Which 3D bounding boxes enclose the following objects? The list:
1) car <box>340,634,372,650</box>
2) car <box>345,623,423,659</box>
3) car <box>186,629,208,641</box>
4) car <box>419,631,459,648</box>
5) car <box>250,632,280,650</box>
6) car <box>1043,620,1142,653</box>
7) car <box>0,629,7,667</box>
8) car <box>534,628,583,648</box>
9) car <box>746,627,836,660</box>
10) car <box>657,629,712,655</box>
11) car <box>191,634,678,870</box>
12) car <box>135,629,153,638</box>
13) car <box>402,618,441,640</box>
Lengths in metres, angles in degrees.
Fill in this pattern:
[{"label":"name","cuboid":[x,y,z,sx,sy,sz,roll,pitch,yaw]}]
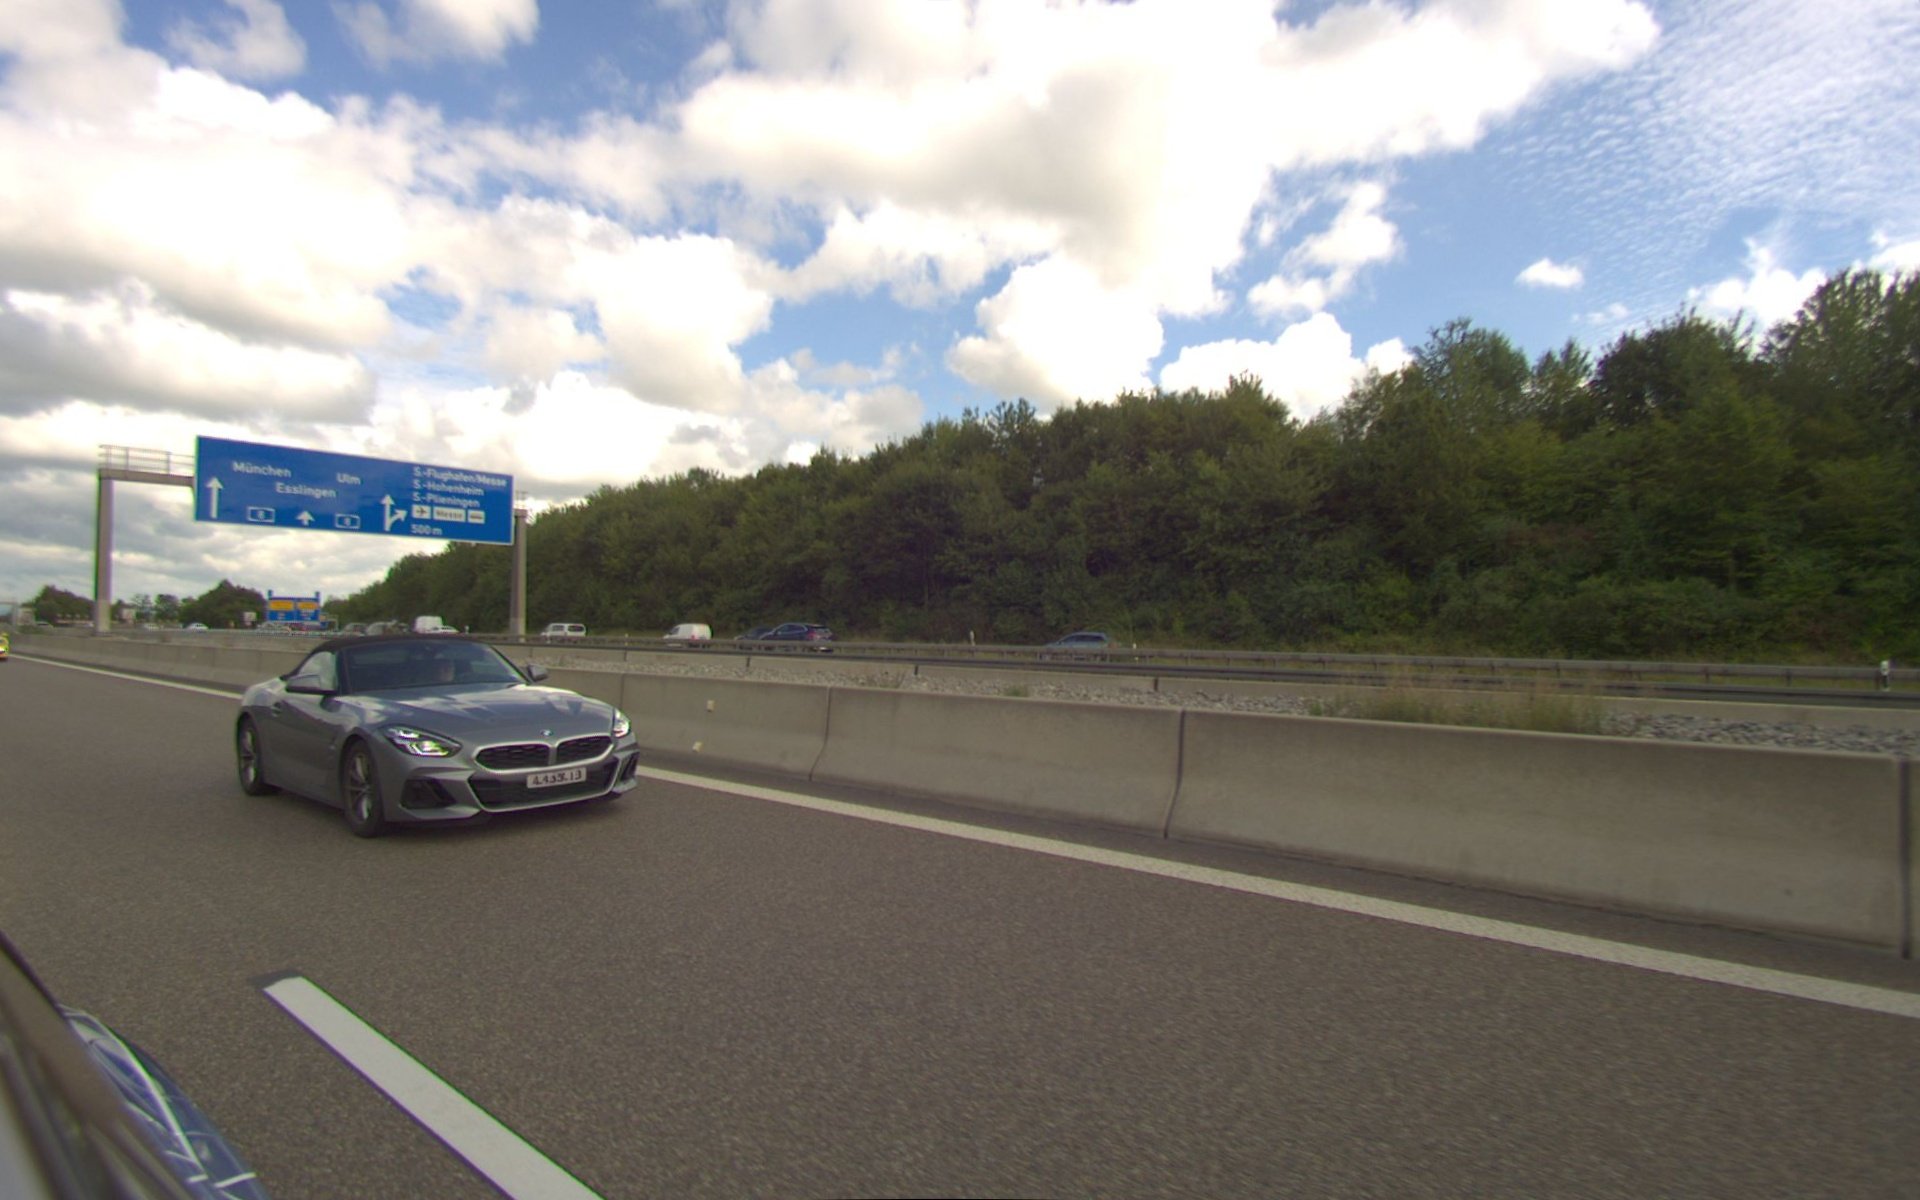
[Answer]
[{"label":"car","cuboid":[-62.540,4.314,104.751,3.997,1.660,1.640,-1,-3,41]},{"label":"car","cuboid":[-30.402,2.127,53.360,5.500,1.799,1.815,-1,-3,41]},{"label":"car","cuboid":[-101.922,4.627,135.192,4.368,1.529,1.658,-2,-3,43]},{"label":"car","cuboid":[-46.077,3.492,89.493,4.321,1.455,1.640,-1,-3,41]},{"label":"car","cuboid":[-85.208,5.027,124.045,4.342,2.029,1.973,-1,-1,41]},{"label":"car","cuboid":[6.189,1.707,47.644,4.506,1.506,1.575,-1,-2,40]},{"label":"car","cuboid":[-35.256,1.660,35.777,4.245,1.325,1.788,-1,-4,41]},{"label":"car","cuboid":[-33.528,3.159,84.505,4.944,1.646,1.717,-1,-3,41]},{"label":"car","cuboid":[-8.645,2.171,51.511,4.766,1.605,1.972,-1,-3,42]},{"label":"car","cuboid":[-19.464,2.926,71.485,4.279,1.771,1.575,-1,-3,40]},{"label":"car","cuboid":[-4.496,0.964,8.234,4.940,1.312,1.854,-1,-2,41]},{"label":"car","cuboid":[-135.685,5.572,168.225,4.245,1.325,1.625,-1,-3,41]},{"label":"car","cuboid":[-59.419,3.229,111.639,5.684,2.333,1.972,-2,-3,43]}]
